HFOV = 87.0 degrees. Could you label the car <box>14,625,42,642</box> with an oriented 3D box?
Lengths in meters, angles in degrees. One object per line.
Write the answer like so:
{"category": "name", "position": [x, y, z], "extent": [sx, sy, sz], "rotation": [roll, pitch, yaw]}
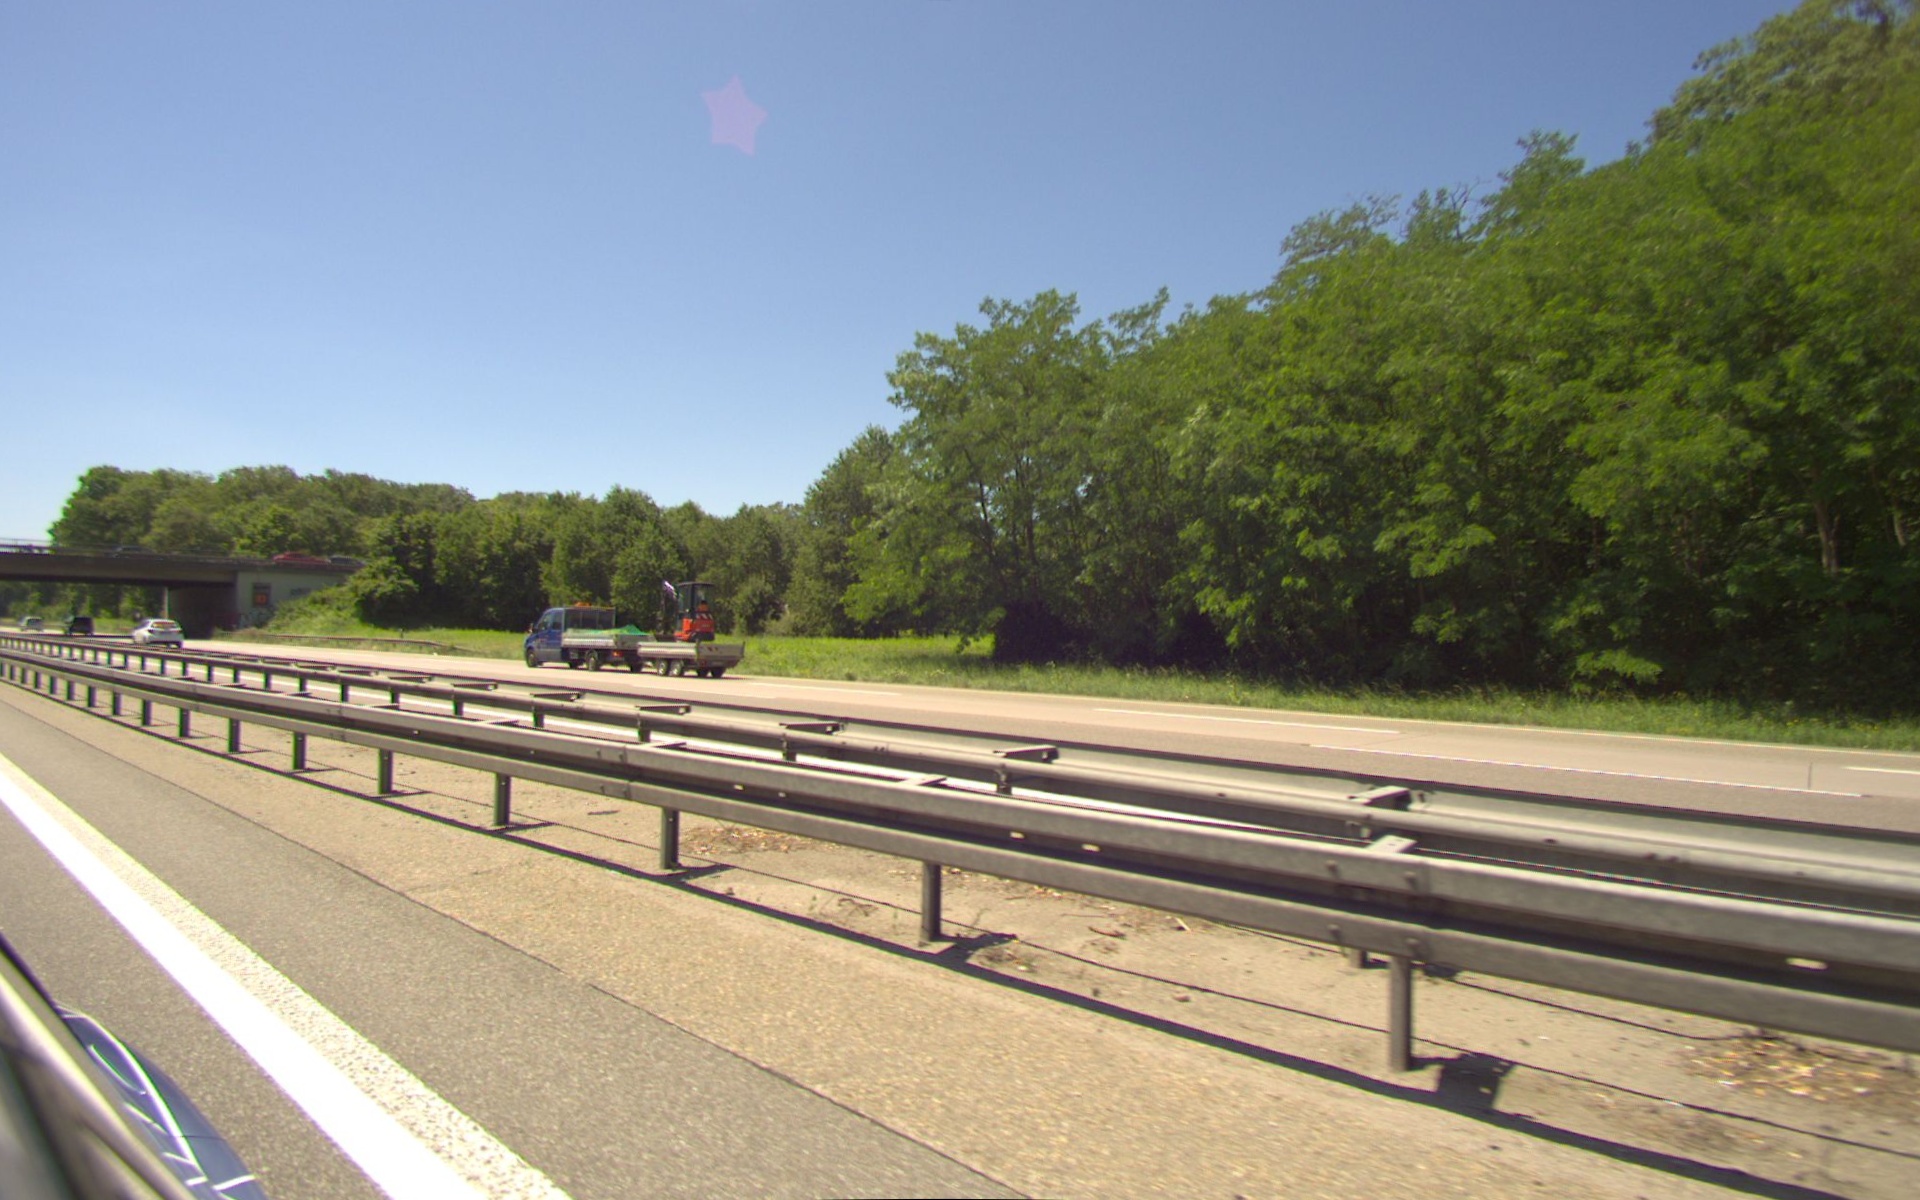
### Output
{"category": "car", "position": [-105.258, 3.813, 114.258], "extent": [4.932, 1.819, 1.722], "rotation": [-1, -3, 41]}

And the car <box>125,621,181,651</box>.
{"category": "car", "position": [-44.027, 1.937, 55.198], "extent": [4.202, 1.556, 1.671], "rotation": [-1, 0, 41]}

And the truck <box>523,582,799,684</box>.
{"category": "truck", "position": [-10.827, 1.074, 35.212], "extent": [12.849, 3.013, 2.724], "rotation": [-1, -2, 41]}

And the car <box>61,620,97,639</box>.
{"category": "car", "position": [-84.554, 2.826, 97.095], "extent": [5.081, 1.776, 1.723], "rotation": [-1, -3, 39]}

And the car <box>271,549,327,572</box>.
{"category": "car", "position": [-63.037, -3.732, 96.548], "extent": [1.997, 2.029, 4.106], "rotation": [-1, 0, 38]}
